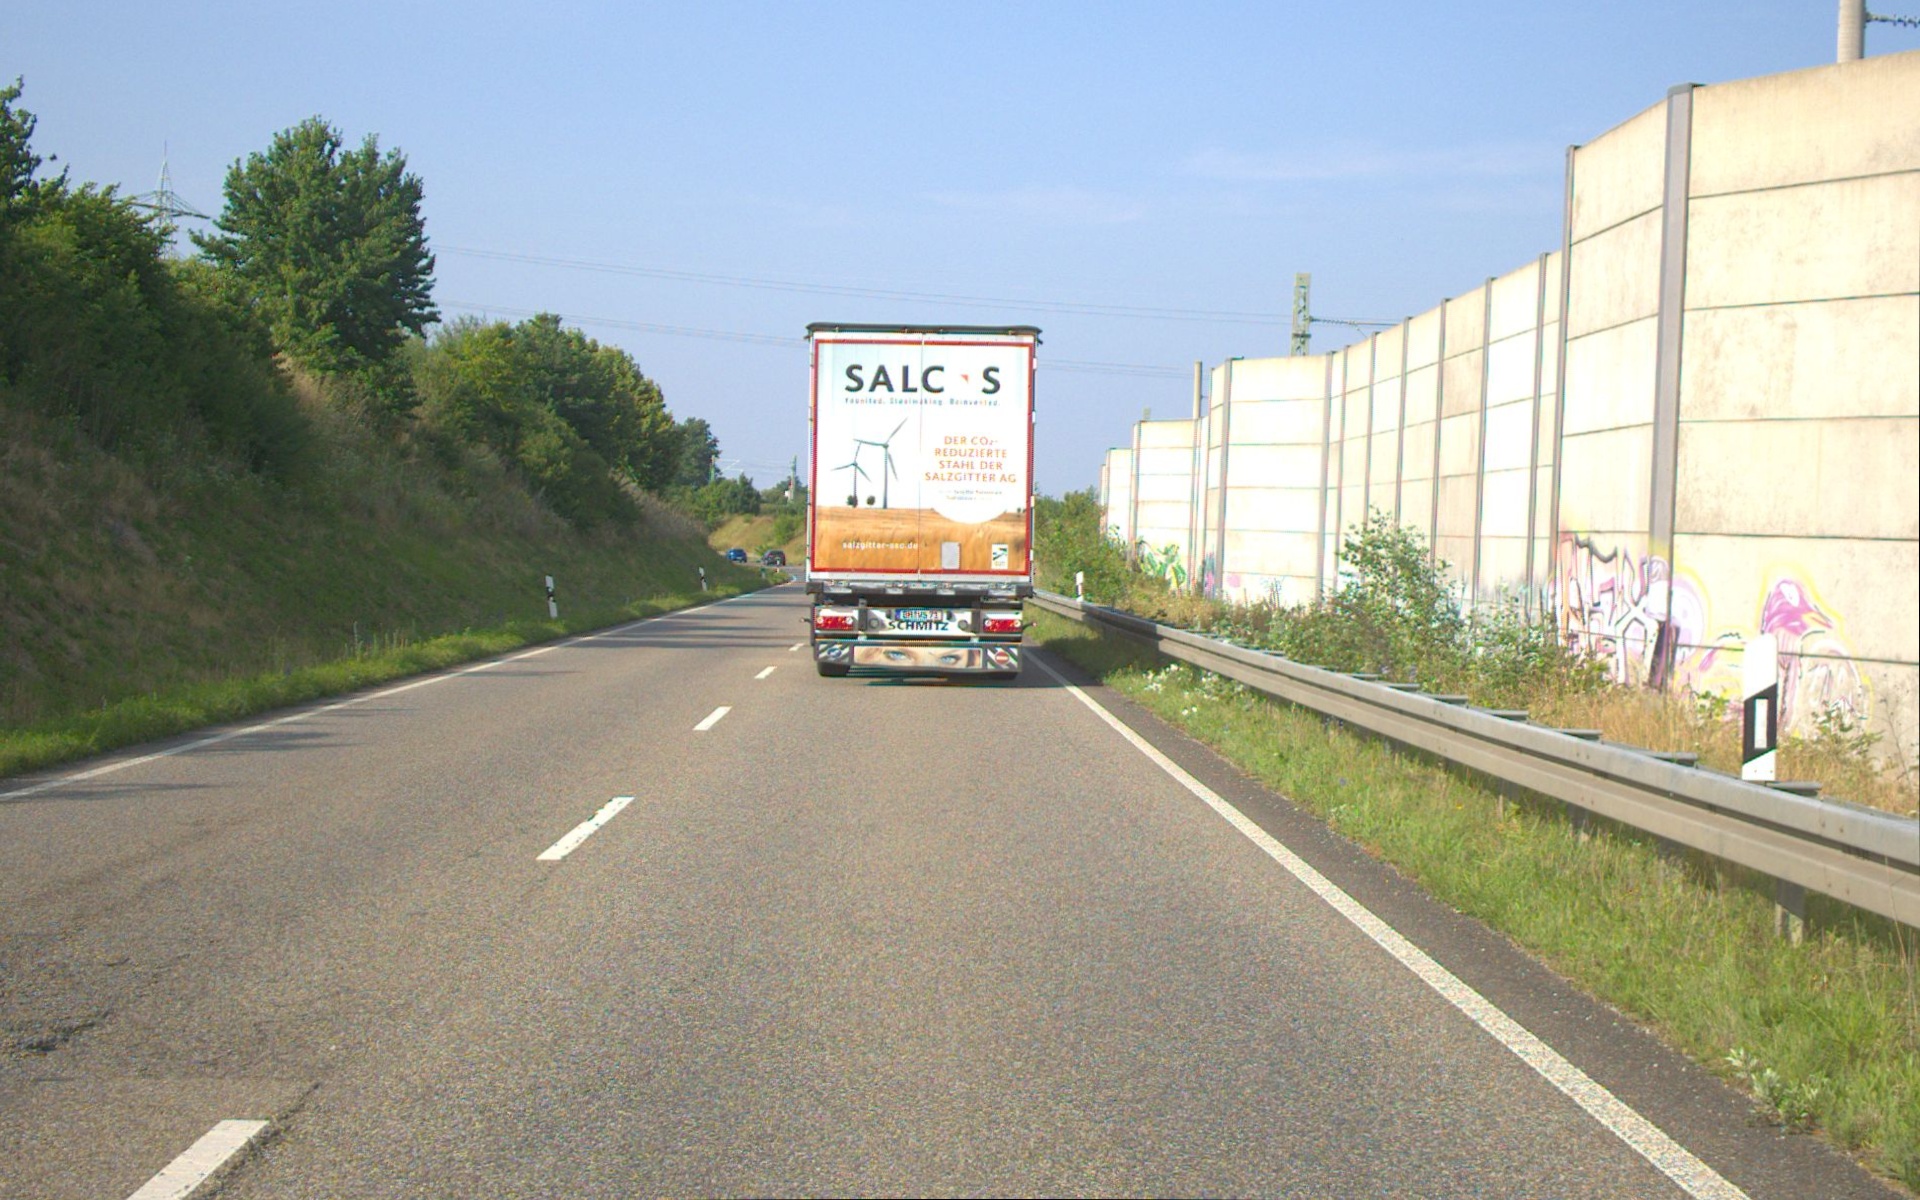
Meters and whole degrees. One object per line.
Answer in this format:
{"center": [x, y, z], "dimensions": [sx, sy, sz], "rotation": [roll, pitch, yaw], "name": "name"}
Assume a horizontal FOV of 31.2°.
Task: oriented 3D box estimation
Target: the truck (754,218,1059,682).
{"center": [-0.860, -1.819, 44.133], "dimensions": [3.290, 5.072, 12.039], "rotation": [1, 1, -3], "name": "truck"}
